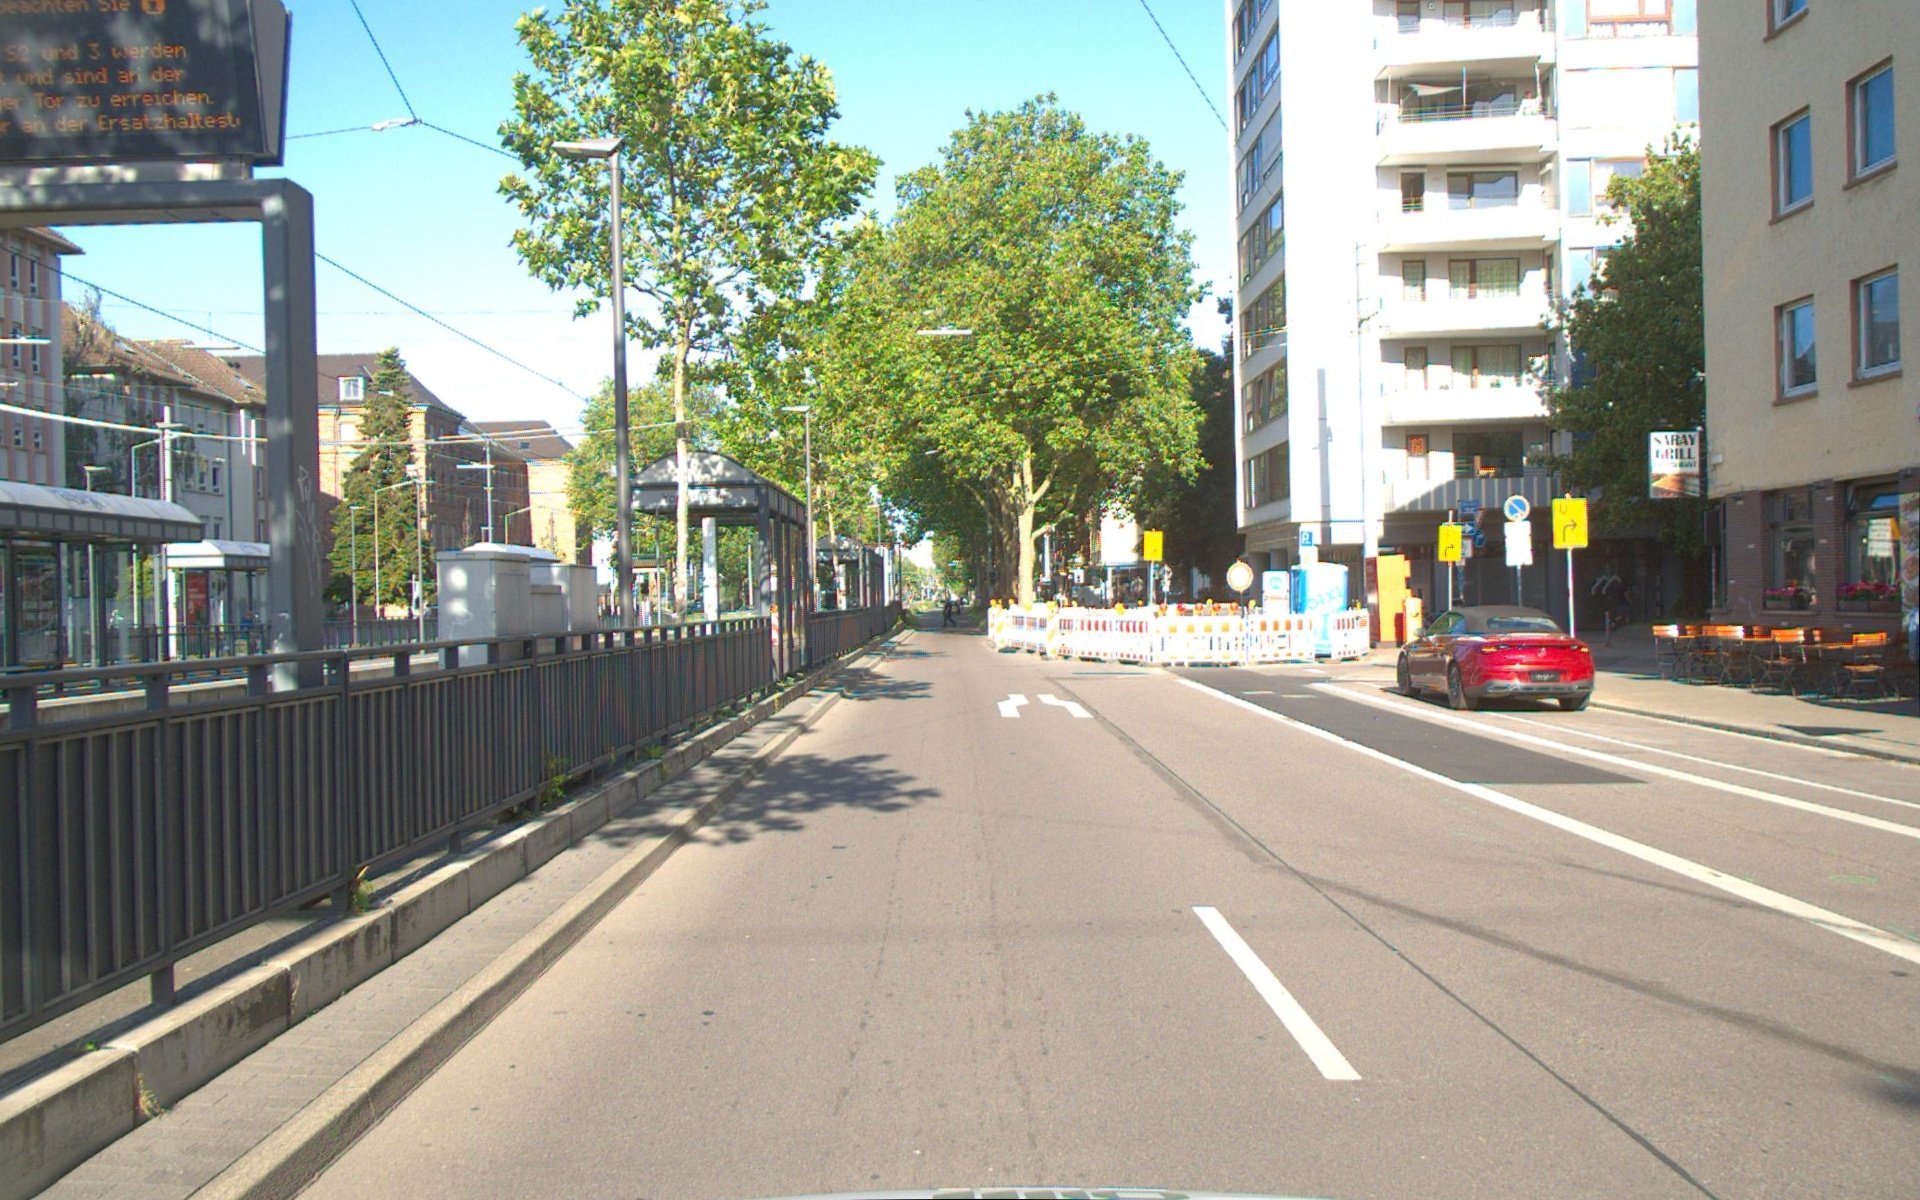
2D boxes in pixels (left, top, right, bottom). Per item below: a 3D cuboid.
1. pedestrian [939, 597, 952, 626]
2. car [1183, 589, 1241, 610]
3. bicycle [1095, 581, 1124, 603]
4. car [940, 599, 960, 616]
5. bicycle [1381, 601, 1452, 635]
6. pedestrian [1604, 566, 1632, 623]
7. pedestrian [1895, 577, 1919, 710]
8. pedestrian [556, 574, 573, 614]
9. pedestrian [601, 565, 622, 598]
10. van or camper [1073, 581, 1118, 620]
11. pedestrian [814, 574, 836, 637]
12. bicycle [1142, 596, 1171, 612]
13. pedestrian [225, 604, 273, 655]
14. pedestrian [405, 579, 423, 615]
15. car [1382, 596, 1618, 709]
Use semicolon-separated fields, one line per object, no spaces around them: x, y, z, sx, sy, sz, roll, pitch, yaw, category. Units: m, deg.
-0.841;0.682;96.986;0.697;1.710;0.772;-1;0;-2;pedestrian
20.699;-0.053;135.999;4.489;1.608;2.002;-1;0;15;car
8.982;-0.483;99.467;1.572;1.285;0.962;-2;0;-5;bicycle
-0.982;0.756;166.885;1.980;1.691;3.999;-1;0;-1;car
13.551;0.527;49.099;1.986;0.959;1.018;-1;0;19;bicycle
21.976;-0.186;55.282;0.642;1.887;0.678;1;0;1;pedestrian
11.442;0.499;19.307;0.657;1.533;0.652;-1;0;0;pedestrian
-20.398;-0.307;85.370;0.649;2.049;0.860;-1;0;-1;pedestrian
-18.771;-0.996;89.150;0.933;1.766;0.730;-1;0;2;pedestrian
8.392;0.007;103.220;2.244;2.326;5.822;-1;0;-1;van or camper
-4.429;0.174;54.219;0.654;2.049;0.716;-1;0;-3;pedestrian
15.177;0.311;127.701;2.096;1.123;0.508;-1;0;25;bicycle
-19.994;0.815;46.526;0.955;1.400;0.879;-1;0;-1;pedestrian
-28.336;-0.169;85.832;0.678;1.869;0.573;-1;0;-1;pedestrian
7.837;0.693;24.575;1.833;1.468;5.159;-1;0;0;car
